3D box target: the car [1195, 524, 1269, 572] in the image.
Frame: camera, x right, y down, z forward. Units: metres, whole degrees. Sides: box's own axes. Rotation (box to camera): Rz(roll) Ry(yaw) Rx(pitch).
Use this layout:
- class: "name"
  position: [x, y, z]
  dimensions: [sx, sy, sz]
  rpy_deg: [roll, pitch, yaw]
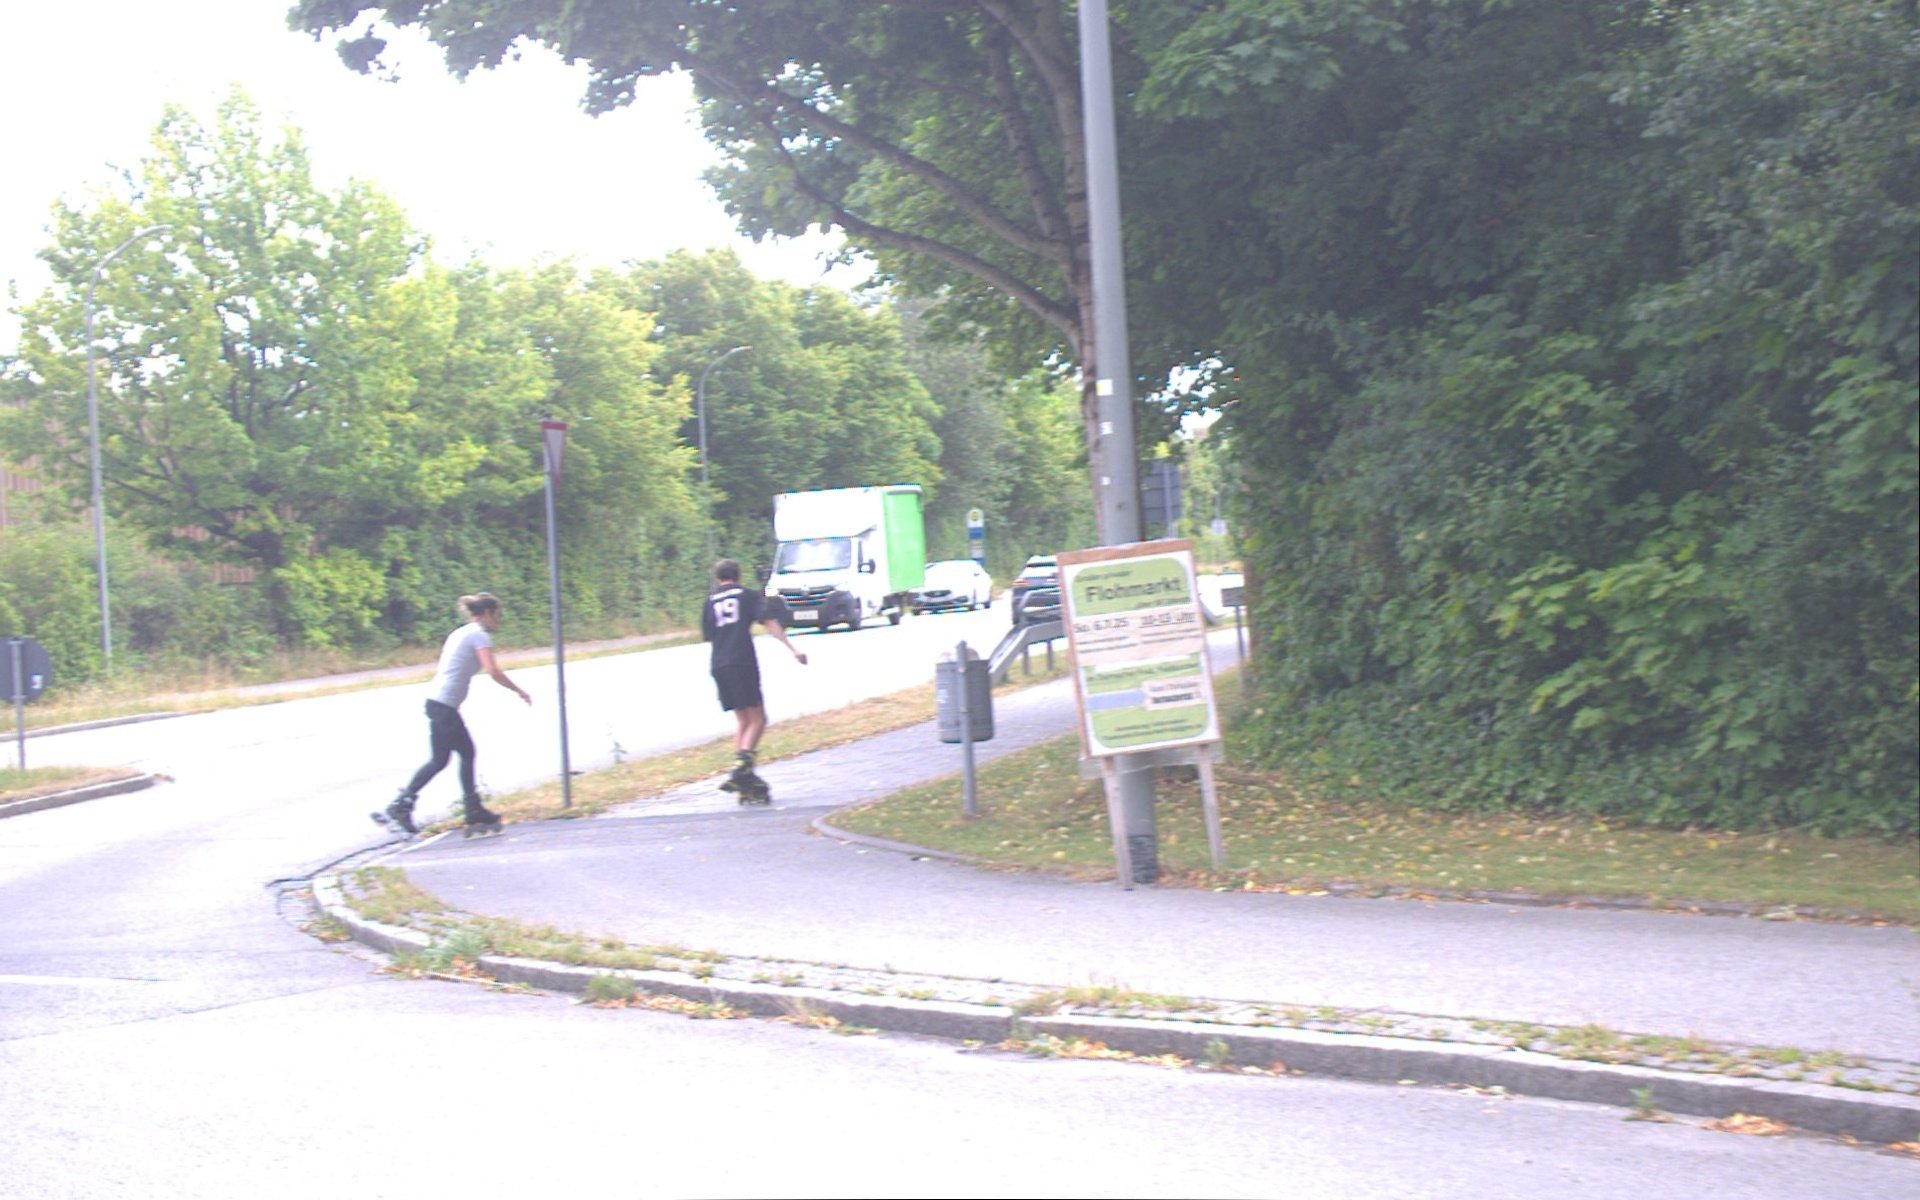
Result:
- class: "car"
  position: [12.207, -2.359, 153.882]
  dimensions: [2.514, 1.940, 5.709]
  rpy_deg: [-3, 1, 11]

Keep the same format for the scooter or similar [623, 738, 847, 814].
- class: "scooter or similar"
  position: [-1.574, 1.236, 24.225]
  dimensions: [1.223, 0.379, 1.127]
  rpy_deg: [-4, 1, 18]

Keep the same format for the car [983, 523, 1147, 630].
- class: "car"
  position: [2.207, -0.518, 70.280]
  dimensions: [2.514, 1.940, 5.709]
  rpy_deg: [-3, 1, 9]

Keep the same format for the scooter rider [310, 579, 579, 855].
- class: "scooter rider"
  position: [-3.395, 0.751, 22.632]
  dimensions: [1.241, 1.666, 1.099]
  rpy_deg: [-6, 3, -41]

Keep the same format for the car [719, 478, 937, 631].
- class: "car"
  position: [-2.935, -1.102, 79.350]
  dimensions: [3.172, 3.193, 7.629]
  rpy_deg: [-3, 1, 11]

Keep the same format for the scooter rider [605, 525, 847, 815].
- class: "scooter rider"
  position: [-1.636, 0.478, 24.204]
  dimensions: [1.223, 1.903, 1.127]
  rpy_deg: [-4, 1, 18]

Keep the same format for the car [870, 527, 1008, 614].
- class: "car"
  position: [-0.523, -0.857, 96.343]
  dimensions: [2.680, 2.166, 5.997]
  rpy_deg: [-3, 1, 10]

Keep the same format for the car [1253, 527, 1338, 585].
- class: "car"
  position: [12.568, -1.672, 128.408]
  dimensions: [2.514, 1.940, 5.709]
  rpy_deg: [-3, 1, 11]

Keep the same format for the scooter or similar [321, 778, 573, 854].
- class: "scooter or similar"
  position: [-3.377, 1.413, 22.639]
  dimensions: [1.225, 0.363, 1.099]
  rpy_deg: [-4, 2, -42]
